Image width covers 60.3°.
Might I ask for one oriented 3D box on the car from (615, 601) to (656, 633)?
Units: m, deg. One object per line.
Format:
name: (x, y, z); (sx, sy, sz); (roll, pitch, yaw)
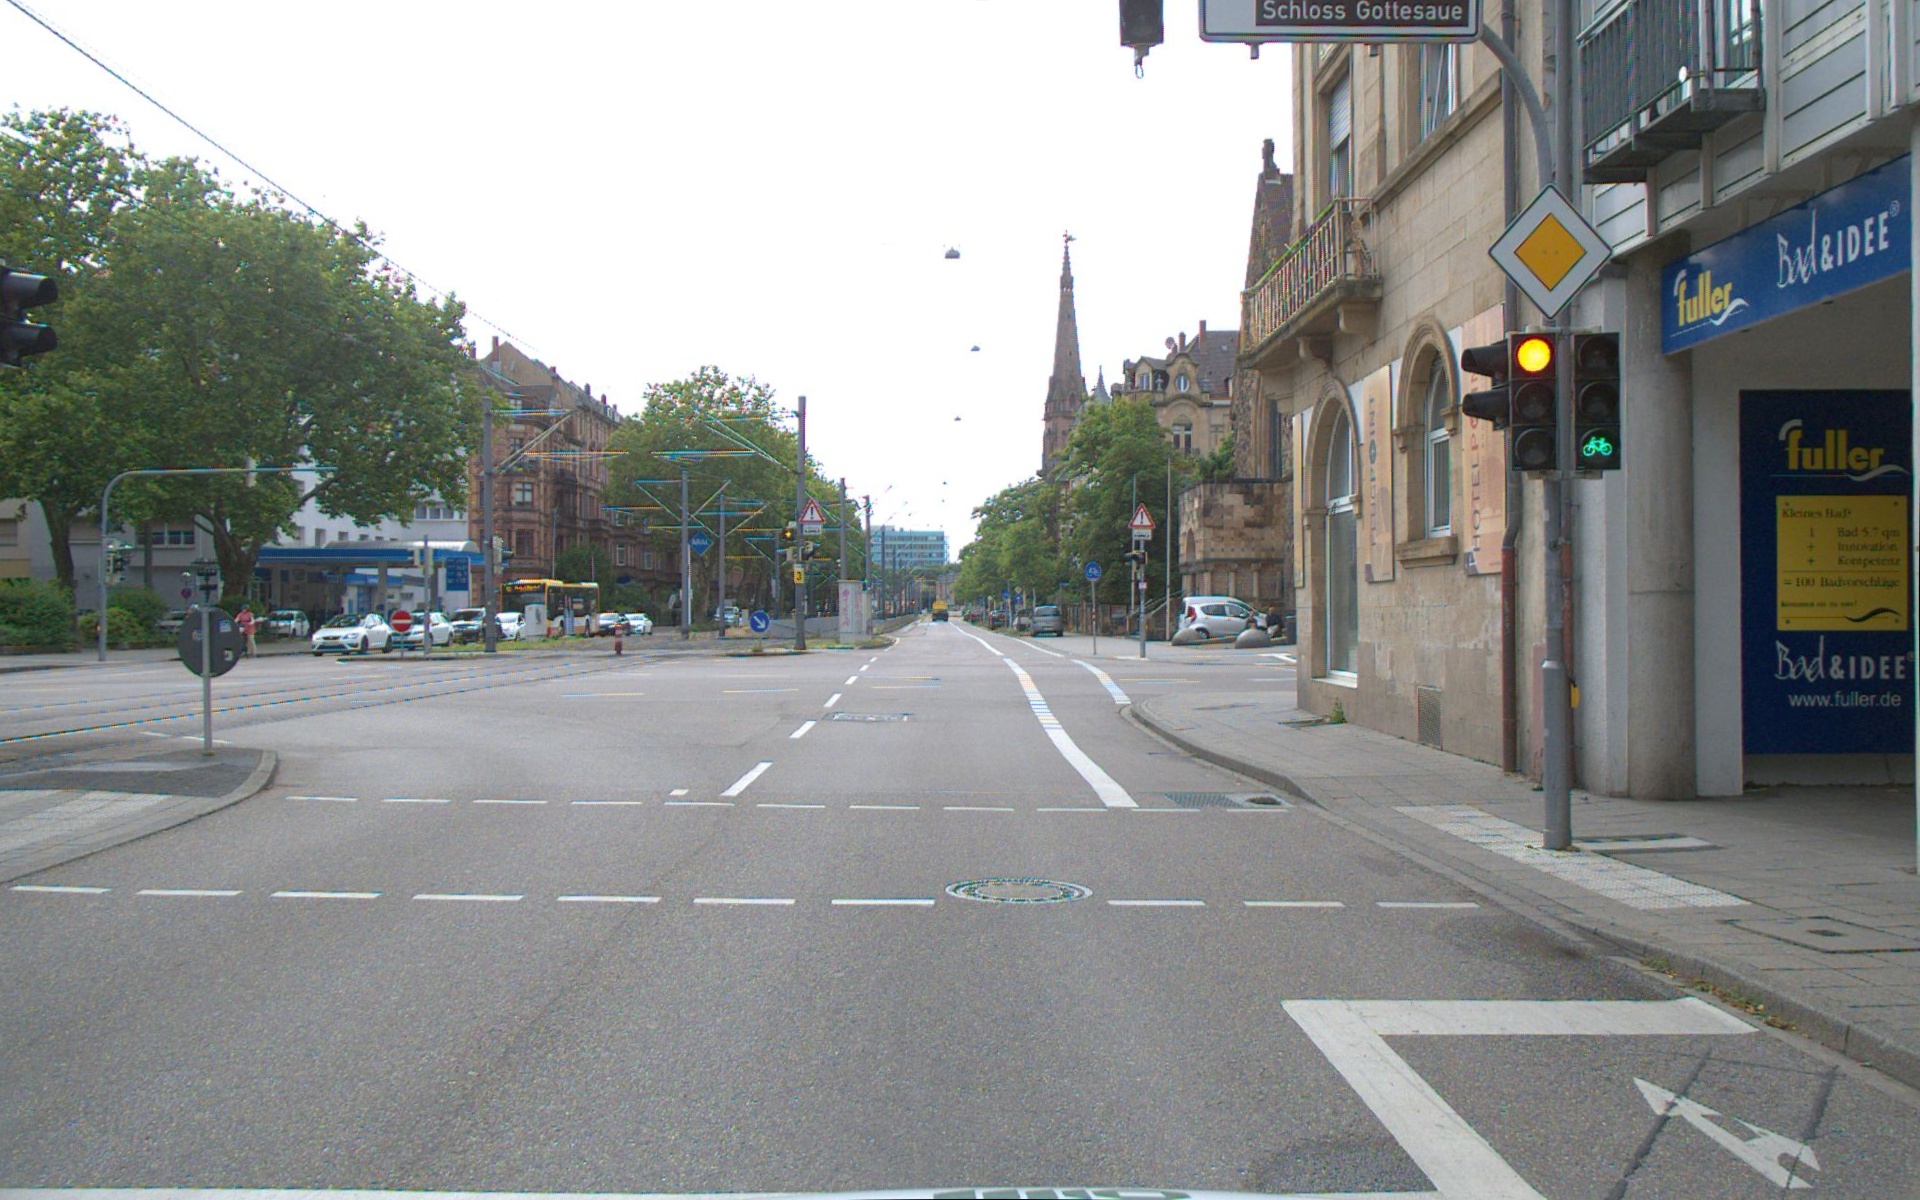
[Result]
car: (-21.421, 1.129, 109.255); (1.953, 2.049, 3.999); (1, 0, -1)

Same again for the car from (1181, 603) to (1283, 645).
car: (10.667, 0.932, 65.035); (3.638, 1.591, 2.000); (1, 0, -1)

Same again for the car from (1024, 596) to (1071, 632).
car: (4.806, 0.776, 90.045); (1.951, 1.888, 4.030); (1, 0, 12)

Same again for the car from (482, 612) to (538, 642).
car: (-21.388, 1.279, 78.696); (1.622, 1.344, 3.638); (1, 0, 1)

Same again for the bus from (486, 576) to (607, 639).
bus: (-21.975, 0.413, 88.750); (3.164, 3.088, 12.312); (1, 0, 1)

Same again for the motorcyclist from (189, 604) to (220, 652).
motorcyclist: (-24.645, 0.913, 53.943); (0.607, 1.546, 0.873); (0, 0, -1)

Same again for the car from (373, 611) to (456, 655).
car: (-21.431, 1.282, 65.124); (1.953, 1.622, 3.999); (1, 0, -1)

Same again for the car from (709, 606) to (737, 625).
car: (-21.351, 1.379, 148.987); (1.953, 1.639, 3.999); (1, 0, -1)

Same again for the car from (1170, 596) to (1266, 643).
car: (10.683, 0.801, 68.555); (3.638, 1.888, 2.000); (1, 0, -1)

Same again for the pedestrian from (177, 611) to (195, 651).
pedestrian: (-28.616, 1.146, 61.129); (0.466, 1.485, 0.426); (0, 0, -1)

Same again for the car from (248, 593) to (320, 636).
car: (-32.948, 0.694, 80.725); (1.953, 2.049, 3.999); (0, 0, -1)

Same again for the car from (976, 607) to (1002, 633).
car: (2.363, 1.633, 136.201); (1.953, 2.049, 3.999); (1, 0, -1)

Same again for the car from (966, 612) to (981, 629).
car: (1.751, 2.669, 216.821); (1.953, 2.049, 3.999); (1, 0, -1)

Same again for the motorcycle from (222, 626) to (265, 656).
motorcycle: (-23.642, 1.356, 54.628); (0.594, 0.945, 1.951); (0, 0, 0)

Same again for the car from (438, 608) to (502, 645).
car: (-21.231, 1.134, 71.778); (1.622, 1.504, 3.638); (1, 0, 1)

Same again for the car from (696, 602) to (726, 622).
car: (-21.234, 1.021, 141.178); (1.953, 1.639, 3.999); (1, 0, -1)

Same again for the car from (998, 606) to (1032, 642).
car: (3.279, 1.425, 99.701); (1.952, 2.049, 4.000); (1, 0, 1)

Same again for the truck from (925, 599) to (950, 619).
truck: (-3.201, 1.316, 241.744); (2.991, 2.817, 9.819); (0, 0, 3)

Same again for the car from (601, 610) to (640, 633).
car: (-20.886, 1.301, 101.887); (1.622, 1.344, 3.638); (1, 0, 1)

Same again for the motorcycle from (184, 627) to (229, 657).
motorcycle: (-24.645, 1.363, 54.127); (0.594, 0.945, 1.951); (0, 0, 0)

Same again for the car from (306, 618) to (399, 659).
car: (-21.444, 1.326, 58.559); (1.711, 1.344, 4.075); (1, 0, 1)

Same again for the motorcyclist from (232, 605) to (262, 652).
motorcyclist: (-23.625, 0.947, 54.801); (0.607, 1.546, 0.873); (0, 0, -1)

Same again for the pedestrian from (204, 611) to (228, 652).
pedestrian: (-27.620, 1.170, 61.414); (0.634, 1.505, 0.557); (0, 0, -1)
